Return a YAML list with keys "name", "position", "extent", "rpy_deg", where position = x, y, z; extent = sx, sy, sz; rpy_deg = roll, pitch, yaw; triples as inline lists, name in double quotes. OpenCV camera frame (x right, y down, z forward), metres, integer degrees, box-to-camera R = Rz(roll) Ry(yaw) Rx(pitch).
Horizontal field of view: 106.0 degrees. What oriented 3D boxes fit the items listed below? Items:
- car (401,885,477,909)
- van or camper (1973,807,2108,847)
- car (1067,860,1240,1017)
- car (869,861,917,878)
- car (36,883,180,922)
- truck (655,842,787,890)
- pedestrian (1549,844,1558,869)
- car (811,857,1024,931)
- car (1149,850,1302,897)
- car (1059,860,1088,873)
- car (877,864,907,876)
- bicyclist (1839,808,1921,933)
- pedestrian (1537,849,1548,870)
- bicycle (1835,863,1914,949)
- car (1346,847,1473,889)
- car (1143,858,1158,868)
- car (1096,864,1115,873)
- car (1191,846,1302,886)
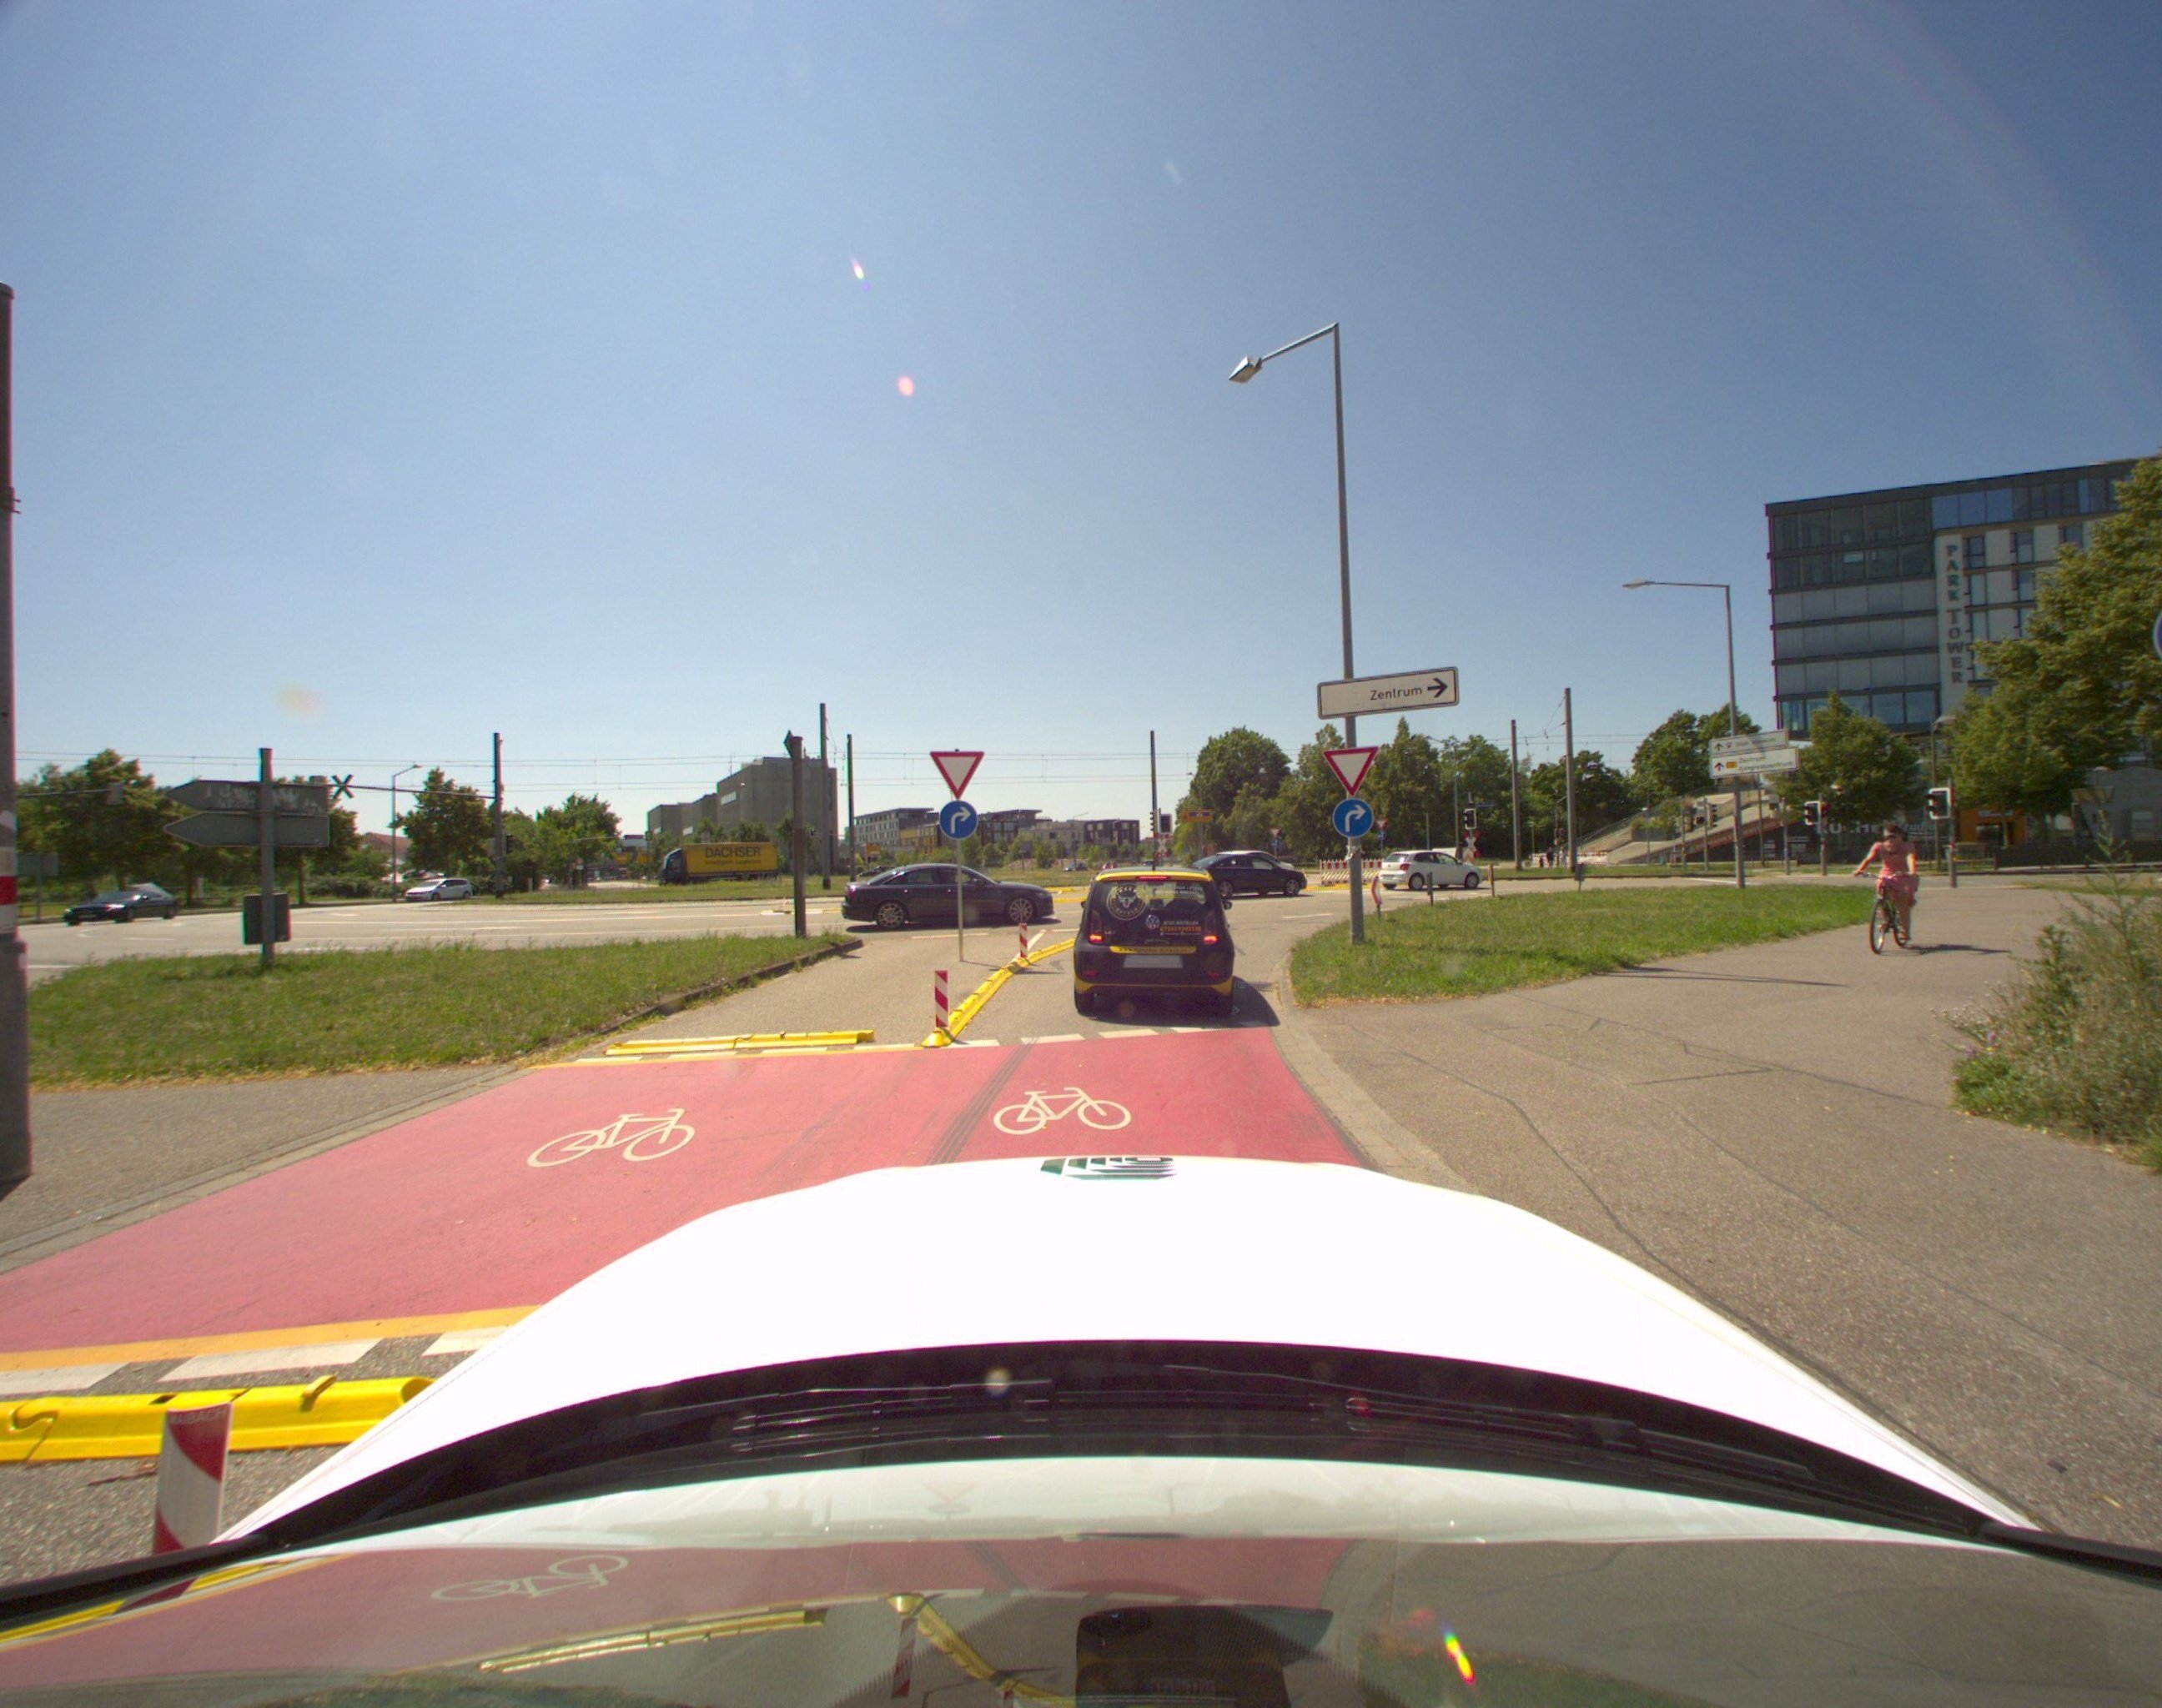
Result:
- name: "car"
  position: [-45.709, 3.038, 58.130]
  extent: [1.818, 1.454, 5.013]
  rpy_deg: [-2, 0, -6]
- name: "van or camper"
  position: [74.096, -2.066, 63.009]
  extent: [6.720, 2.822, 2.391]
  rpy_deg: [-1, 0, 11]
- name: "car"
  position: [0.739, 0.816, 9.688]
  extent: [1.612, 1.451, 3.987]
  rpy_deg: [-1, 0, 1]
- name: "car"
  position: [-17.298, 1.441, 74.956]
  extent: [4.054, 1.461, 1.716]
  rpy_deg: [-2, 0, -25]
- name: "car"
  position: [-42.808, 2.098, 36.021]
  extent: [1.858, 1.436, 4.921]
  rpy_deg: [-2, 0, -20]
- name: "truck"
  position: [-29.987, 0.920, 68.163]
  extent: [9.664, 3.659, 2.676]
  rpy_deg: [-2, 0, -39]
- name: "pedestrian"
  position: [33.876, 0.179, 58.407]
  extent: [0.444, 1.739, 0.292]
  rpy_deg: [-2, -1, 13]
- name: "car"
  position: [-3.788, 0.884, 19.223]
  extent: [4.639, 1.449, 1.992]
  rpy_deg: [-2, 0, -13]
- name: "car"
  position: [4.835, 0.605, 27.201]
  extent: [4.764, 1.449, 1.984]
  rpy_deg: [-1, 0, -24]
- name: "car"
  position: [-0.857, 1.414, 93.555]
  extent: [1.751, 1.344, 3.343]
  rpy_deg: [-2, 0, 32]
- name: "car"
  position: [-20.185, 1.742, 87.149]
  extent: [2.871, 1.155, 1.207]
  rpy_deg: [-2, -1, 6]
- name: "bicyclist"
  position: [11.027, 0.225, 11.241]
  extent: [0.713, 1.664, 0.639]
  rpy_deg: [-1, -2, -37]
- name: "pedestrian"
  position: [32.688, 0.382, 57.696]
  extent: [0.517, 1.429, 0.353]
  rpy_deg: [-2, -1, 10]
- name: "bicycle"
  position: [11.017, 0.679, 11.283]
  extent: [2.098, 1.058, 0.434]
  rpy_deg: [-1, -2, -37]
- name: "car"
  position: [12.227, 0.490, 30.305]
  extent: [4.356, 1.449, 1.842]
  rpy_deg: [-1, 0, -24]
- name: "car"
  position: [9.337, 1.208, 109.584]
  extent: [1.647, 1.372, 3.041]
  rpy_deg: [-2, 0, 11]
- name: "car"
  position: [3.334, 1.919, 110.889]
  extent: [1.480, 1.089, 3.539]
  rpy_deg: [-2, 0, 23]
- name: "car"
  position: [6.938, 0.485, 34.096]
  extent: [4.382, 1.486, 1.980]
  rpy_deg: [-2, -1, -32]
